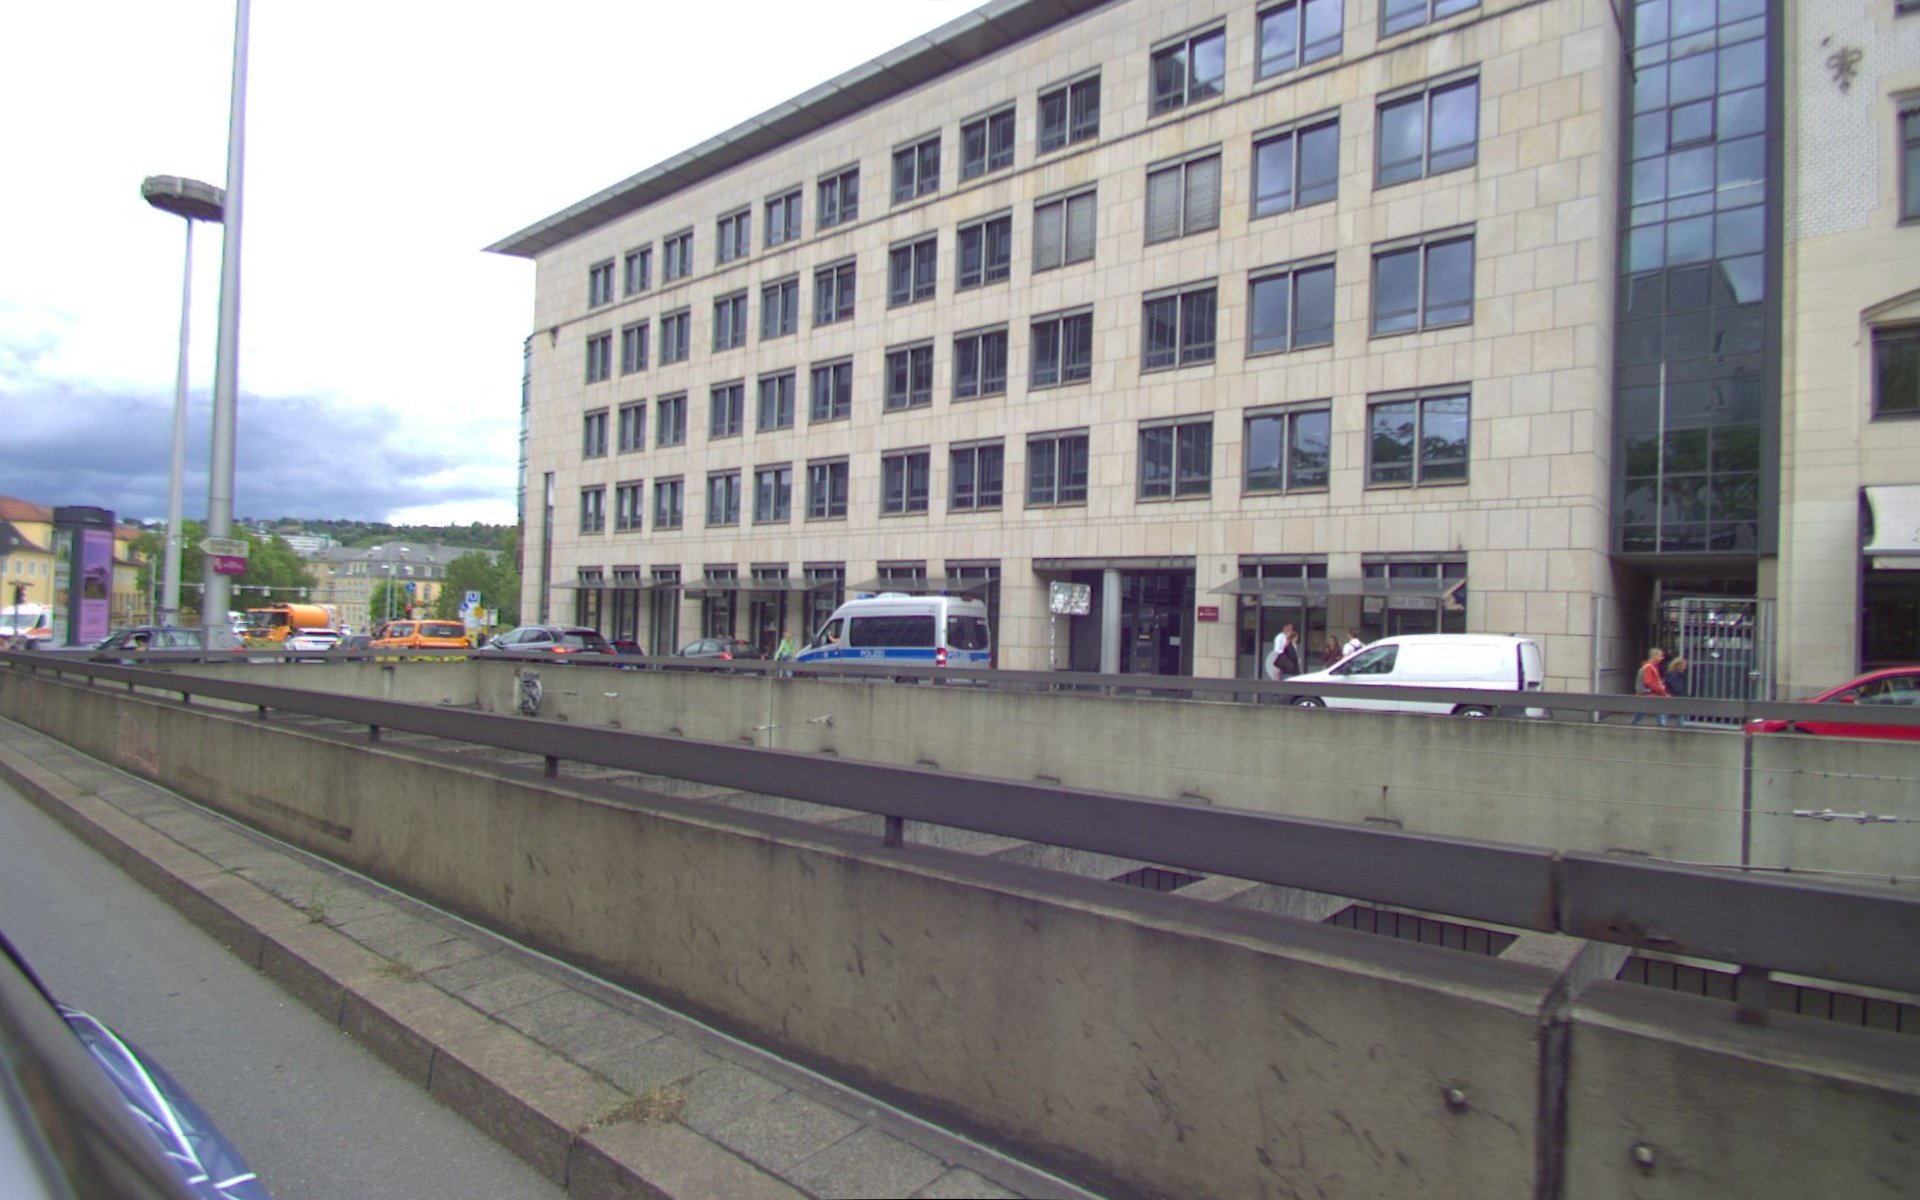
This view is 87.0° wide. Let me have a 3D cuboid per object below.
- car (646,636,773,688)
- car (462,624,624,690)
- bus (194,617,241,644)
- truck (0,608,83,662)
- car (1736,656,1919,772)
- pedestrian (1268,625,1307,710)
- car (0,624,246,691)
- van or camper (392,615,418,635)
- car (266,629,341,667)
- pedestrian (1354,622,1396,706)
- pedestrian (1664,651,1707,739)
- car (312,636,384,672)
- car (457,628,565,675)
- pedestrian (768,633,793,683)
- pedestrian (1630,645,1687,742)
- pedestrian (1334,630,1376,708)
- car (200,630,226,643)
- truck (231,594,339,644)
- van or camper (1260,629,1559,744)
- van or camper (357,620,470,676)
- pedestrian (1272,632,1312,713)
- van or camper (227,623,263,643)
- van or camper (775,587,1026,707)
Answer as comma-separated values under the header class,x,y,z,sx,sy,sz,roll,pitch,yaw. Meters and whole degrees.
class,x,y,z,sx,sy,sz,roll,pitch,yaw
car,-7.810,1.901,31.404,4.028,1.460,1.750,-1,-5,41
car,-10.712,1.394,25.888,4.537,1.538,1.899,-1,-3,39
bus,-93.618,3.858,127.833,3.376,3.228,13.102,2,-2,-30
truck,-50.838,1.929,55.486,1.923,2.805,5.806,2,-3,-18
car,12.596,1.489,13.435,3.579,1.416,1.769,-1,-3,39
pedestrian,7.435,1.518,22.976,0.679,1.889,0.610,-1,-3,39
car,-20.208,1.358,24.553,4.494,1.469,1.884,3,-3,-41
van or camper,-77.718,3.461,141.652,2.112,2.496,6.174,8,-6,-37
car,-30.015,2.175,46.253,4.317,1.611,1.716,-1,-3,41
pedestrian,8.881,1.361,21.664,0.679,1.767,0.546,-1,-3,39
pedestrian,12.667,1.648,17.669,0.541,1.486,0.543,-2,-3,41
car,-25.372,2.208,41.918,3.632,1.390,1.540,-1,-4,42
car,-17.516,1.984,39.423,4.680,1.658,1.973,-1,-4,41
pedestrian,-5.962,1.913,33.587,0.627,1.636,0.494,-1,-3,40
pedestrian,11.924,1.568,17.280,0.712,1.593,0.576,-2,-3,41
pedestrian,8.225,1.427,21.078,0.679,1.589,0.546,-1,-3,39
car,-86.150,4.173,116.710,1.797,1.419,4.012,3,-3,-28
truck,-55.248,1.628,83.238,2.690,3.643,9.181,4,-2,-2
van or camper,7.785,1.408,17.785,4.482,1.765,1.849,-1,-3,40
van or camper,-20.178,1.741,37.291,5.080,1.936,1.893,-1,-4,41
pedestrian,7.249,1.571,22.087,0.680,1.731,0.549,-1,-2,41
van or camper,-84.087,3.886,119.080,2.334,2.280,6.307,3,-3,-25
van or camper,-1.658,1.186,26.441,6.242,2.747,2.971,-1,-3,41
